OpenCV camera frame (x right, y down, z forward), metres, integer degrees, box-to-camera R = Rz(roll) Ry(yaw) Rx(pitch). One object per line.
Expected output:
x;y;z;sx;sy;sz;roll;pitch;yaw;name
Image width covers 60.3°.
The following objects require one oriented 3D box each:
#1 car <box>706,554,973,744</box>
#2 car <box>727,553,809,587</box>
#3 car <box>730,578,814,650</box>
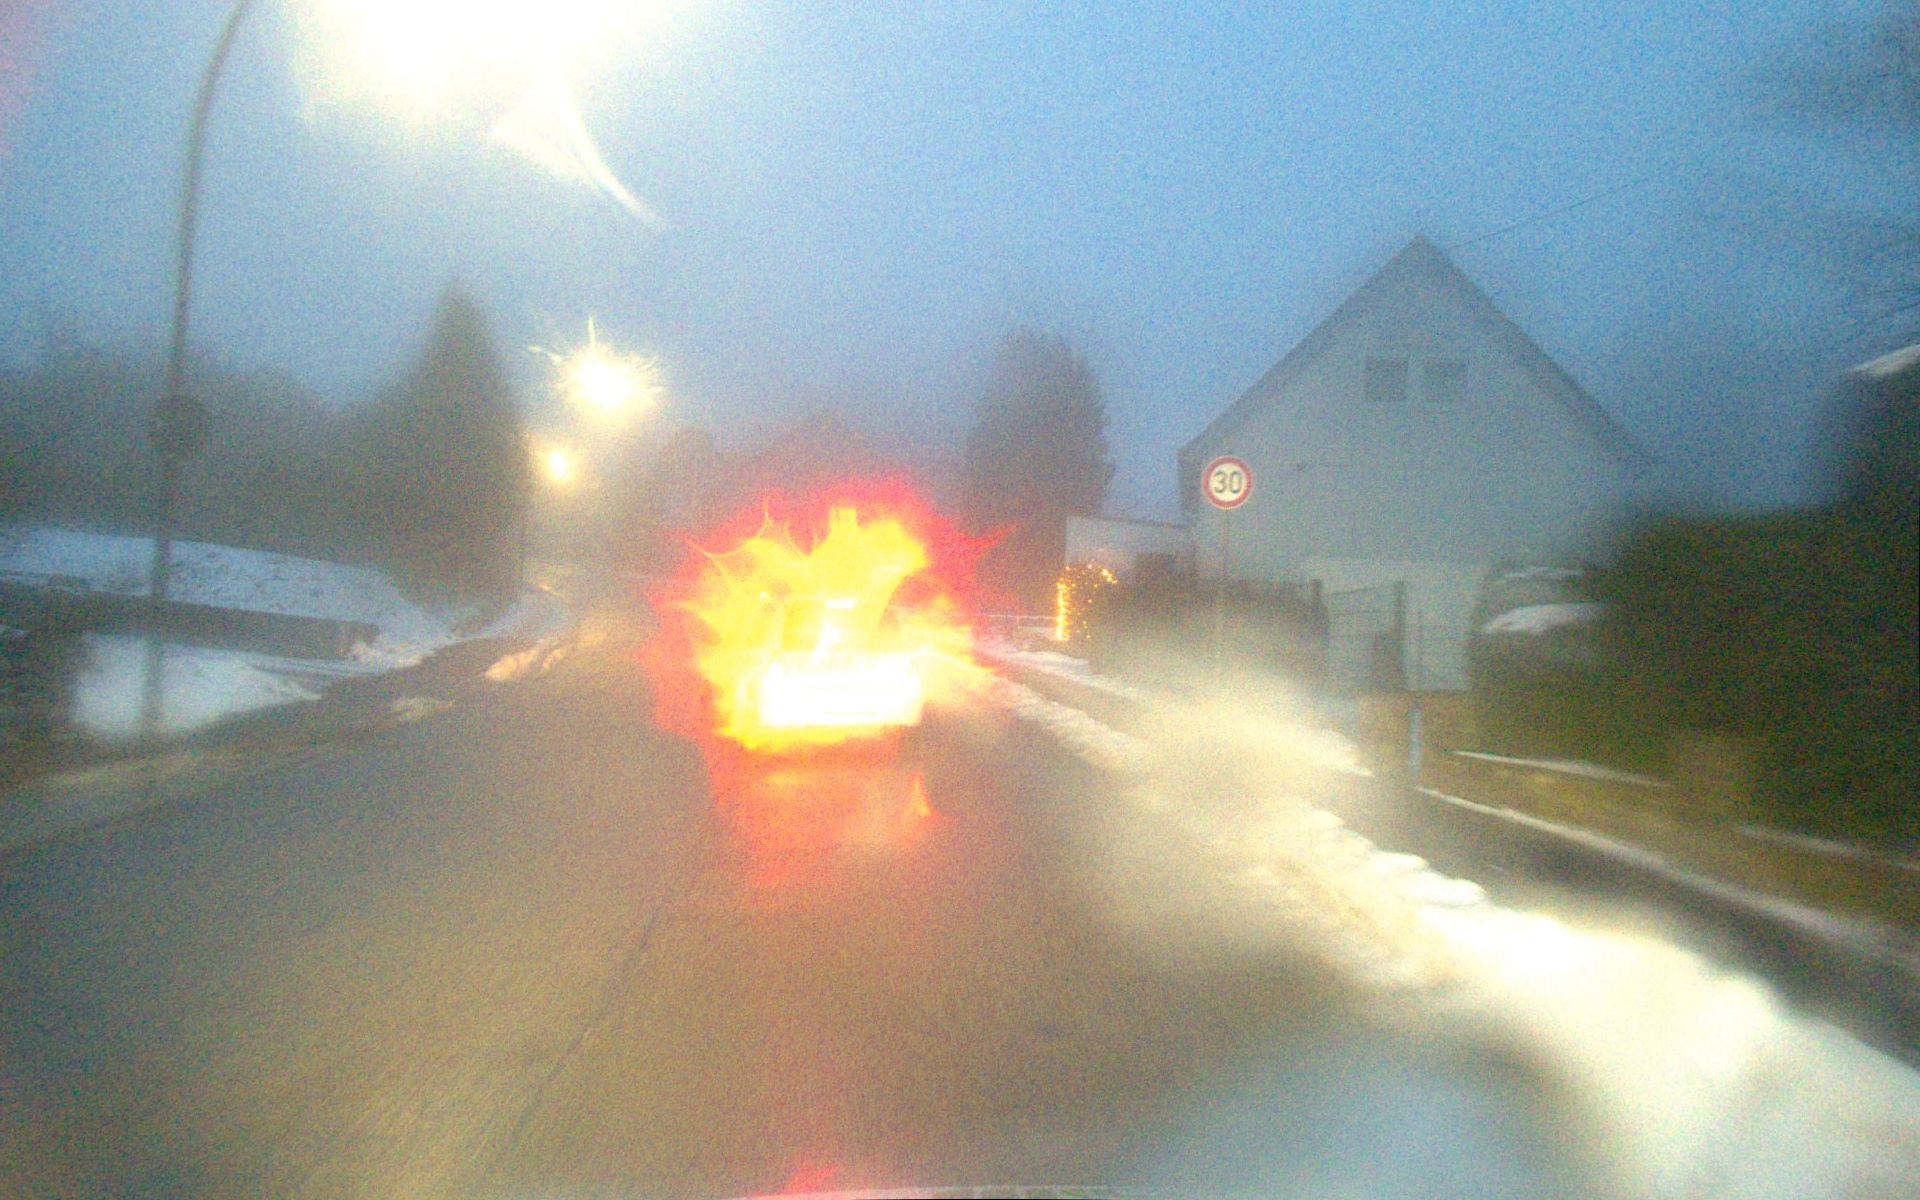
-1.334;0.472;16.487;1.867;1.637;3.982;1;-1;-16;car
-9.909;-1.535;85.350;4.084;1.586;1.940;1;-1;-12;car
-4.878;0.387;42.628;1.957;1.767;3.870;1;-1;-9;car
